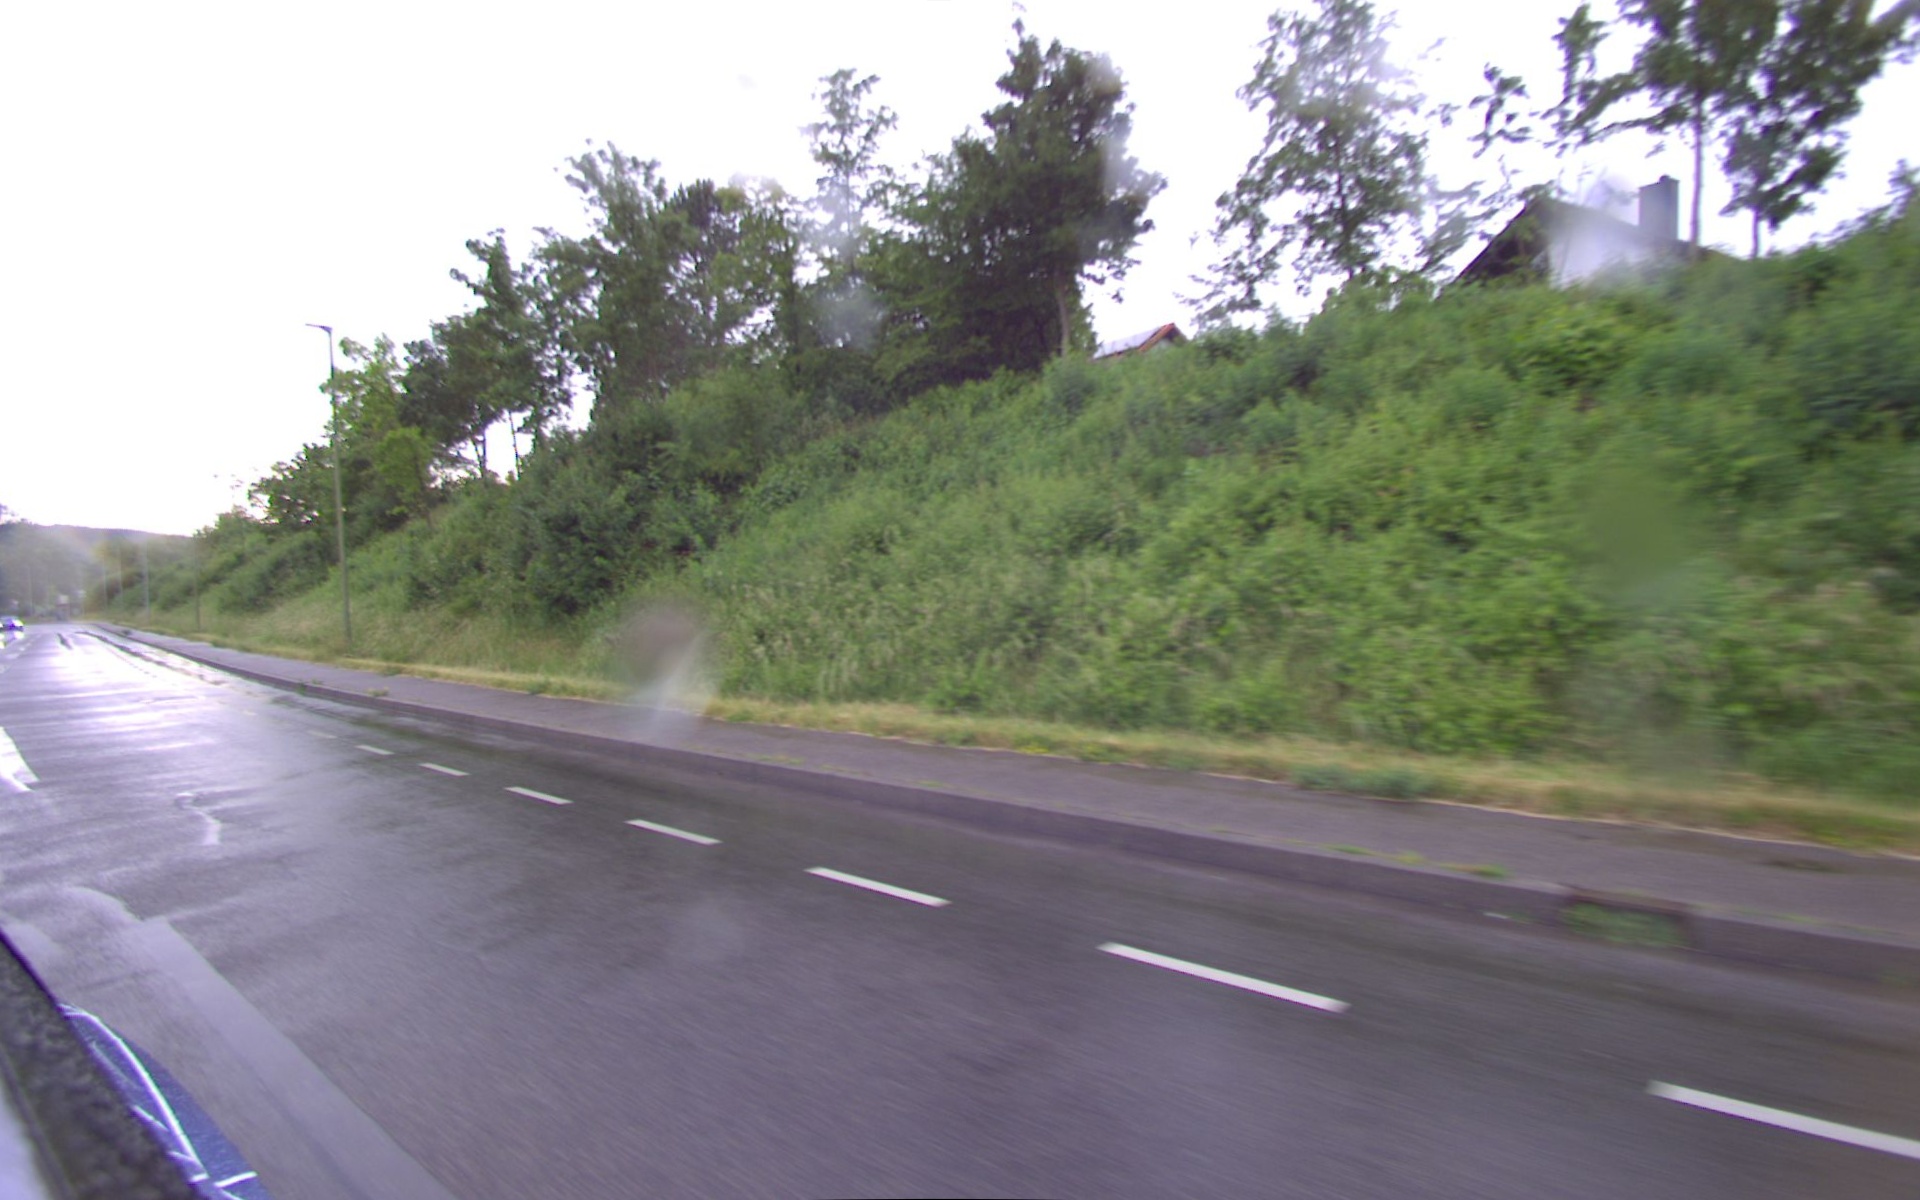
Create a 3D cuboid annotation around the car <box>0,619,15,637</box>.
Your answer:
[{"bbox_3d":[-89.134,2.629,93.957,4.001,1.618,1.854,-1,-1,44],"label":"car"}]
